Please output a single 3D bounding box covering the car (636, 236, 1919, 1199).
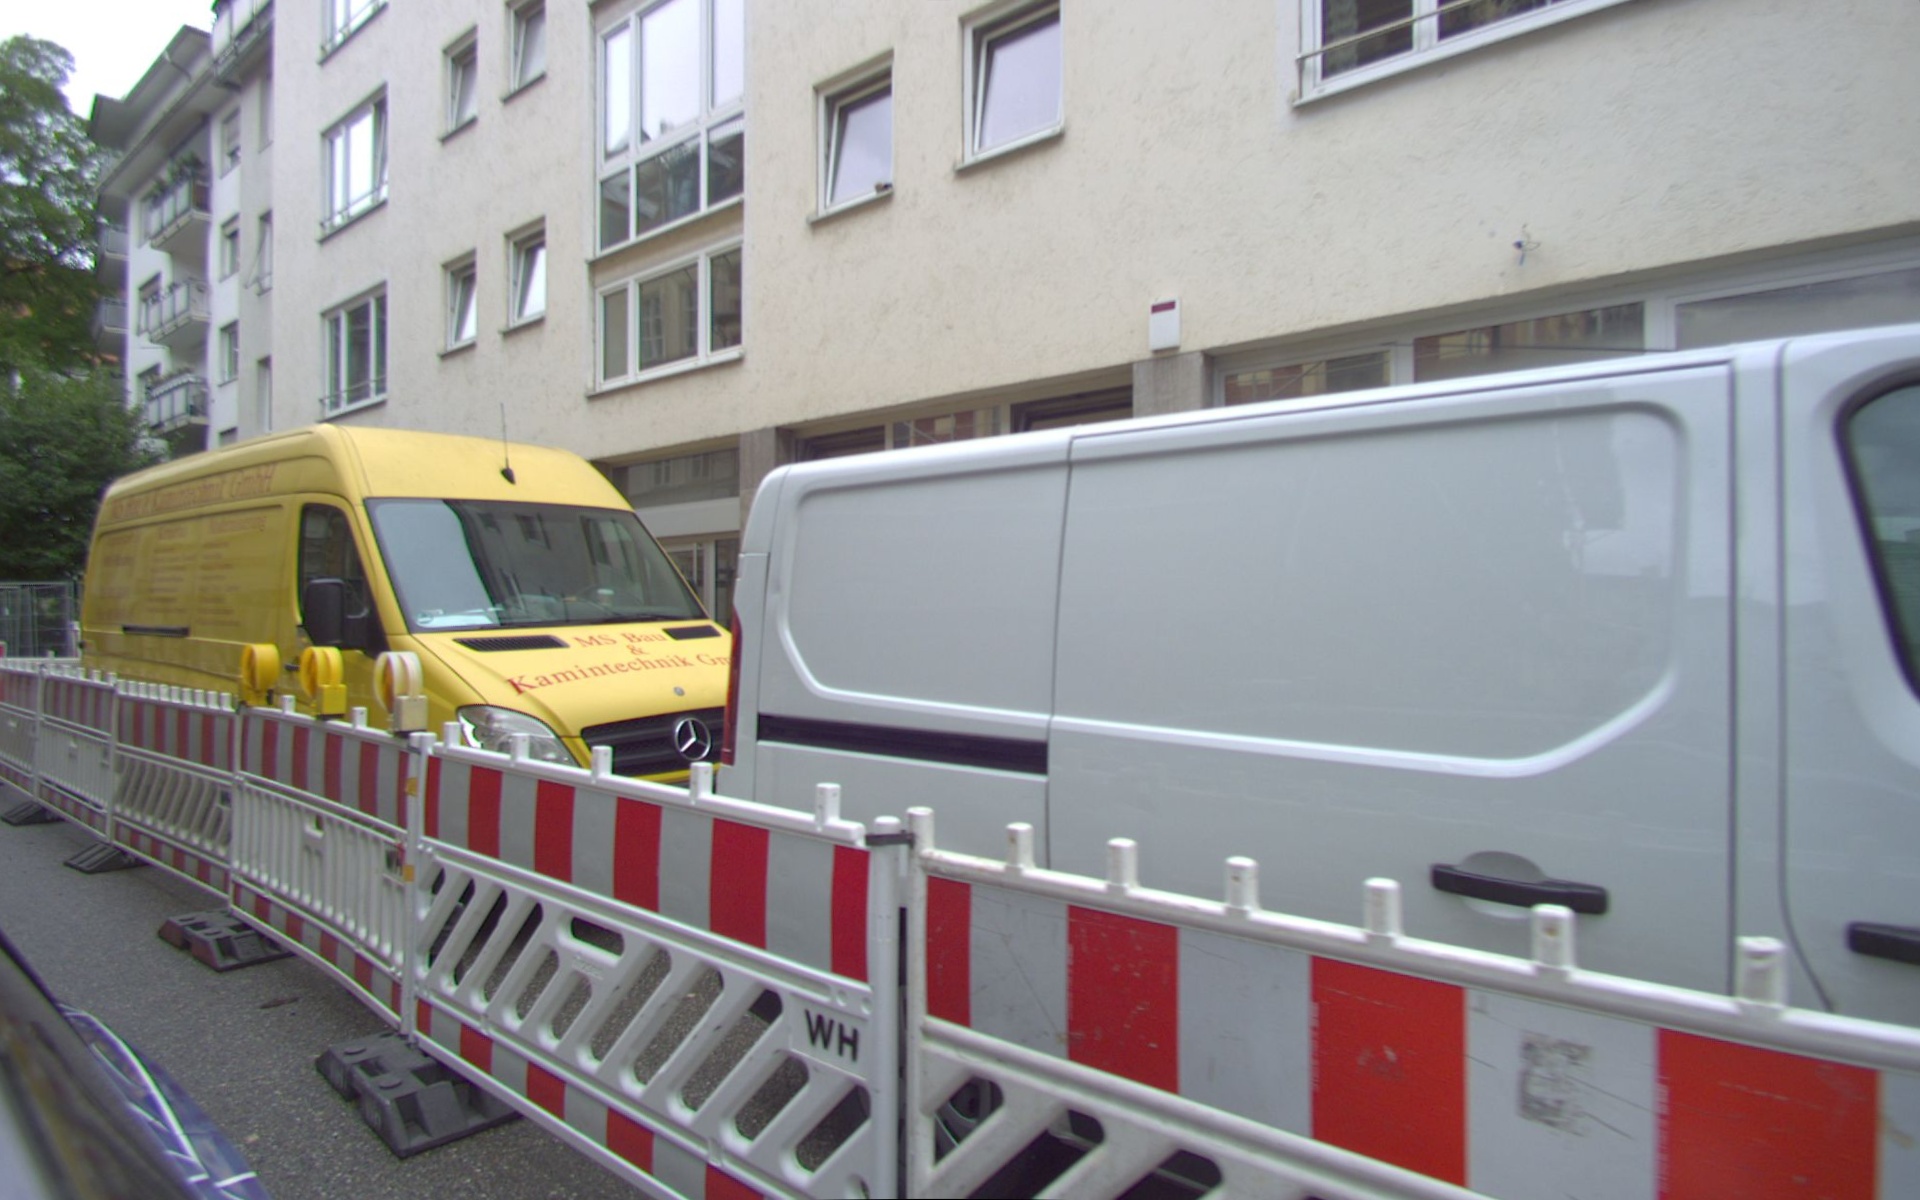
[{"bbox_3d":[1.504,0.503,2.383,4.783,1.912,1.899,-1,-3,37],"label":"car"}]

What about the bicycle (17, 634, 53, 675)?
[{"bbox_3d":[-24.452,1.418,26.748,1.852,0.986,0.439,0,2,40],"label":"bicycle"}]

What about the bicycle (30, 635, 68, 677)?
[{"bbox_3d":[-23.017,1.399,25.558,1.814,0.986,0.439,0,2,40],"label":"bicycle"}]

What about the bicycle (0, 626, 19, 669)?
[{"bbox_3d":[-27.645,1.363,29.197,1.697,1.160,0.483,0,2,40],"label":"bicycle"}]

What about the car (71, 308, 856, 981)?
[{"bbox_3d":[-3.810,0.236,6.771,6.727,2.598,1.974,-1,-2,38],"label":"car"}]

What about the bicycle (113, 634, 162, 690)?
[{"bbox_3d":[-16.791,1.247,20.647,1.596,1.070,0.373,-1,4,39],"label":"bicycle"}]
